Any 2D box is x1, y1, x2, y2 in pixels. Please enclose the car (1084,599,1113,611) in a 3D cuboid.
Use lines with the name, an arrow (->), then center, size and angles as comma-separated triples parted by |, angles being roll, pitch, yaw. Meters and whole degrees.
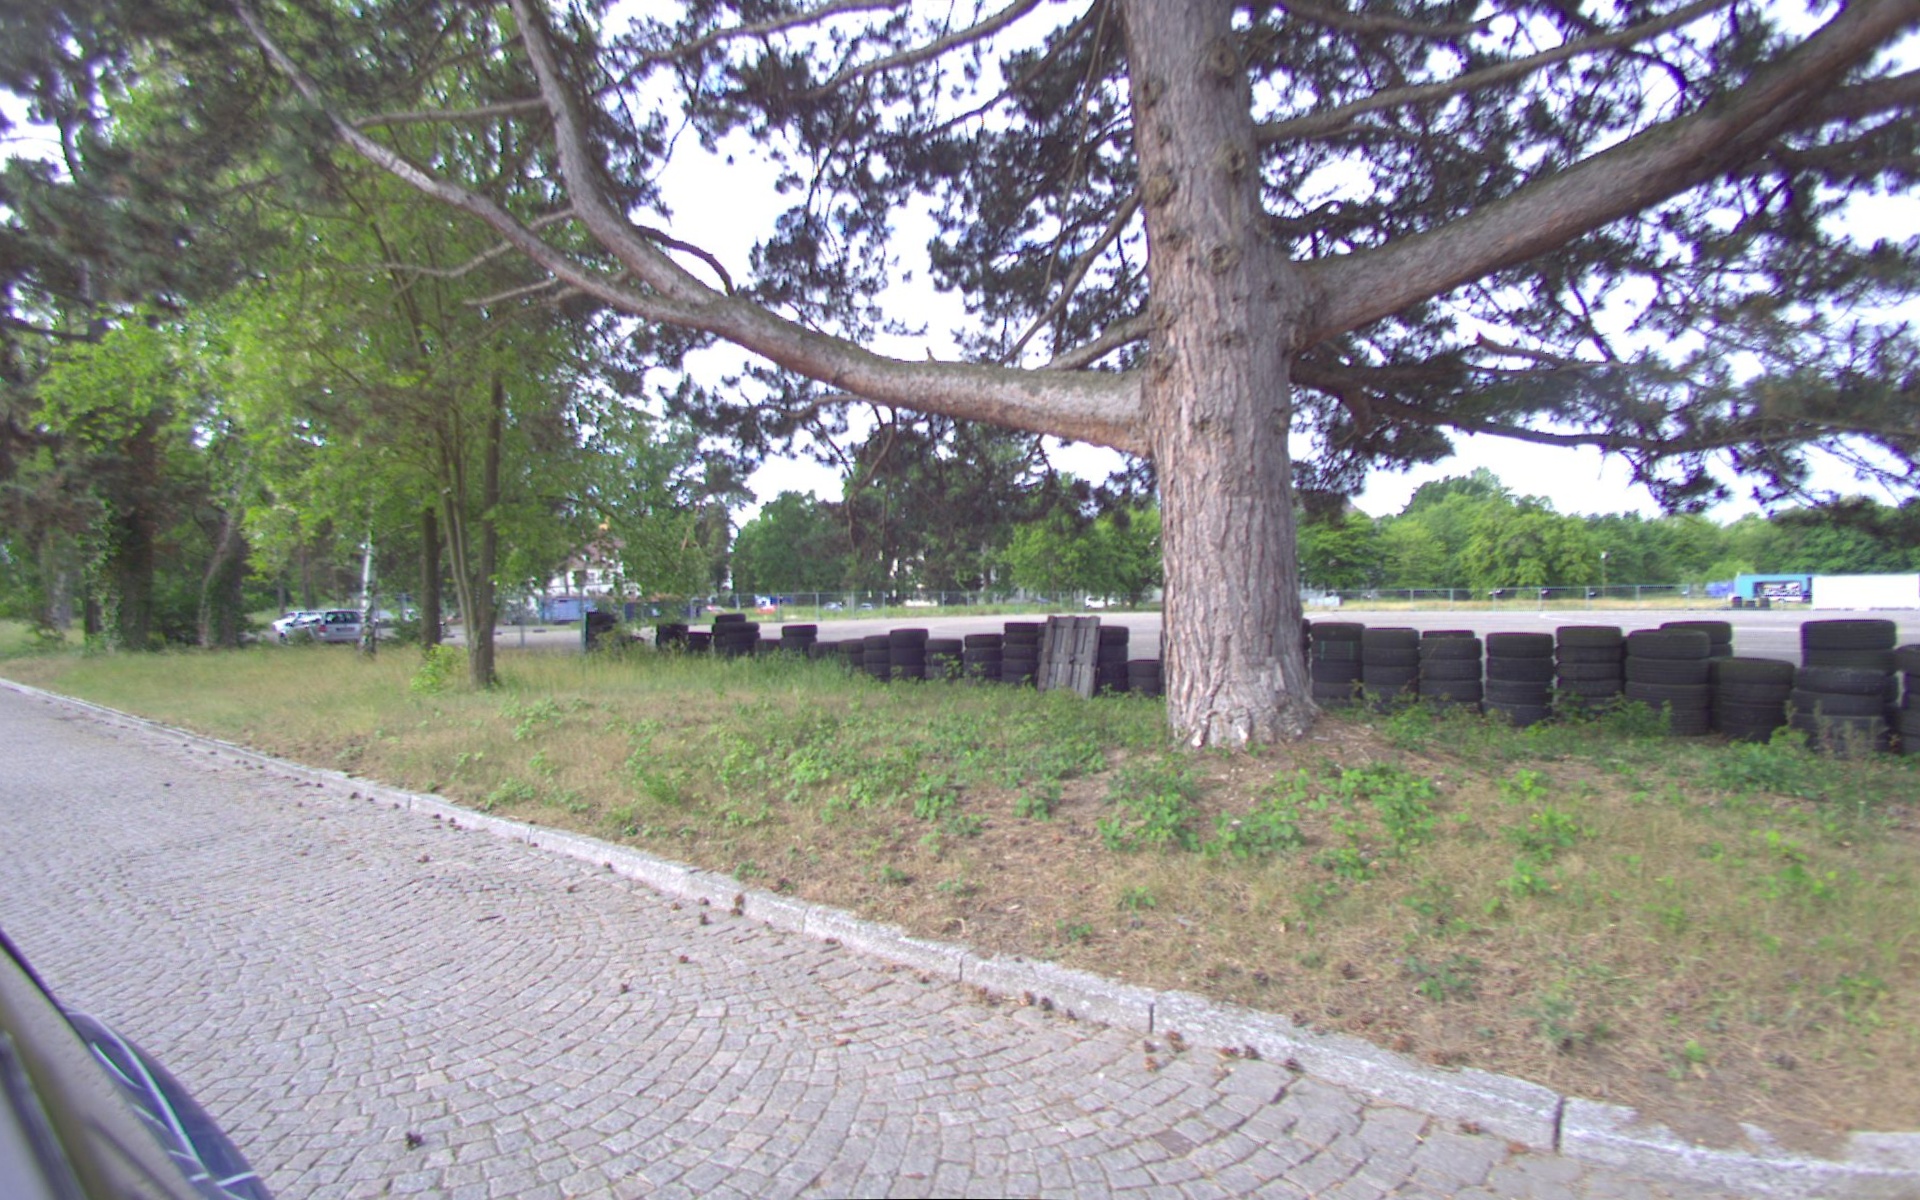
car -> 21.757, 0.842, 158.907 | 4.288, 1.735, 1.806 | -1, 2, 42

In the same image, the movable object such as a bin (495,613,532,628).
movable object such as a bin -> -29.546, 1.355, 66.964 | 1.952, 0.976, 1.432 | -1, 0, 33

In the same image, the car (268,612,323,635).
car -> -44.584, 1.581, 67.903 | 4.314, 1.436, 1.807 | -1, 0, 38

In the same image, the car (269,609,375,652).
car -> -22.609, 1.101, 35.804 | 4.415, 1.427, 1.807 | -1, -3, 38

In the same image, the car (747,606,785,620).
car -> -21.785, 1.507, 113.463 | 4.399, 1.486, 1.806 | -1, 0, 40

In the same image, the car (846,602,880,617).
car -> -11.894, 1.213, 124.473 | 1.802, 1.735, 4.588 | -1, 0, -42

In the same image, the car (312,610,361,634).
car -> -43.037, 1.516, 69.837 | 3.893, 1.531, 1.654 | -3, -2, 38

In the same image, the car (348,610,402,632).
car -> -41.677, 1.497, 72.115 | 4.396, 1.486, 1.807 | -1, 0, 38

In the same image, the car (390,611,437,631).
car -> -40.276, 1.571, 74.549 | 4.032, 1.410, 1.617 | -1, 0, 38
